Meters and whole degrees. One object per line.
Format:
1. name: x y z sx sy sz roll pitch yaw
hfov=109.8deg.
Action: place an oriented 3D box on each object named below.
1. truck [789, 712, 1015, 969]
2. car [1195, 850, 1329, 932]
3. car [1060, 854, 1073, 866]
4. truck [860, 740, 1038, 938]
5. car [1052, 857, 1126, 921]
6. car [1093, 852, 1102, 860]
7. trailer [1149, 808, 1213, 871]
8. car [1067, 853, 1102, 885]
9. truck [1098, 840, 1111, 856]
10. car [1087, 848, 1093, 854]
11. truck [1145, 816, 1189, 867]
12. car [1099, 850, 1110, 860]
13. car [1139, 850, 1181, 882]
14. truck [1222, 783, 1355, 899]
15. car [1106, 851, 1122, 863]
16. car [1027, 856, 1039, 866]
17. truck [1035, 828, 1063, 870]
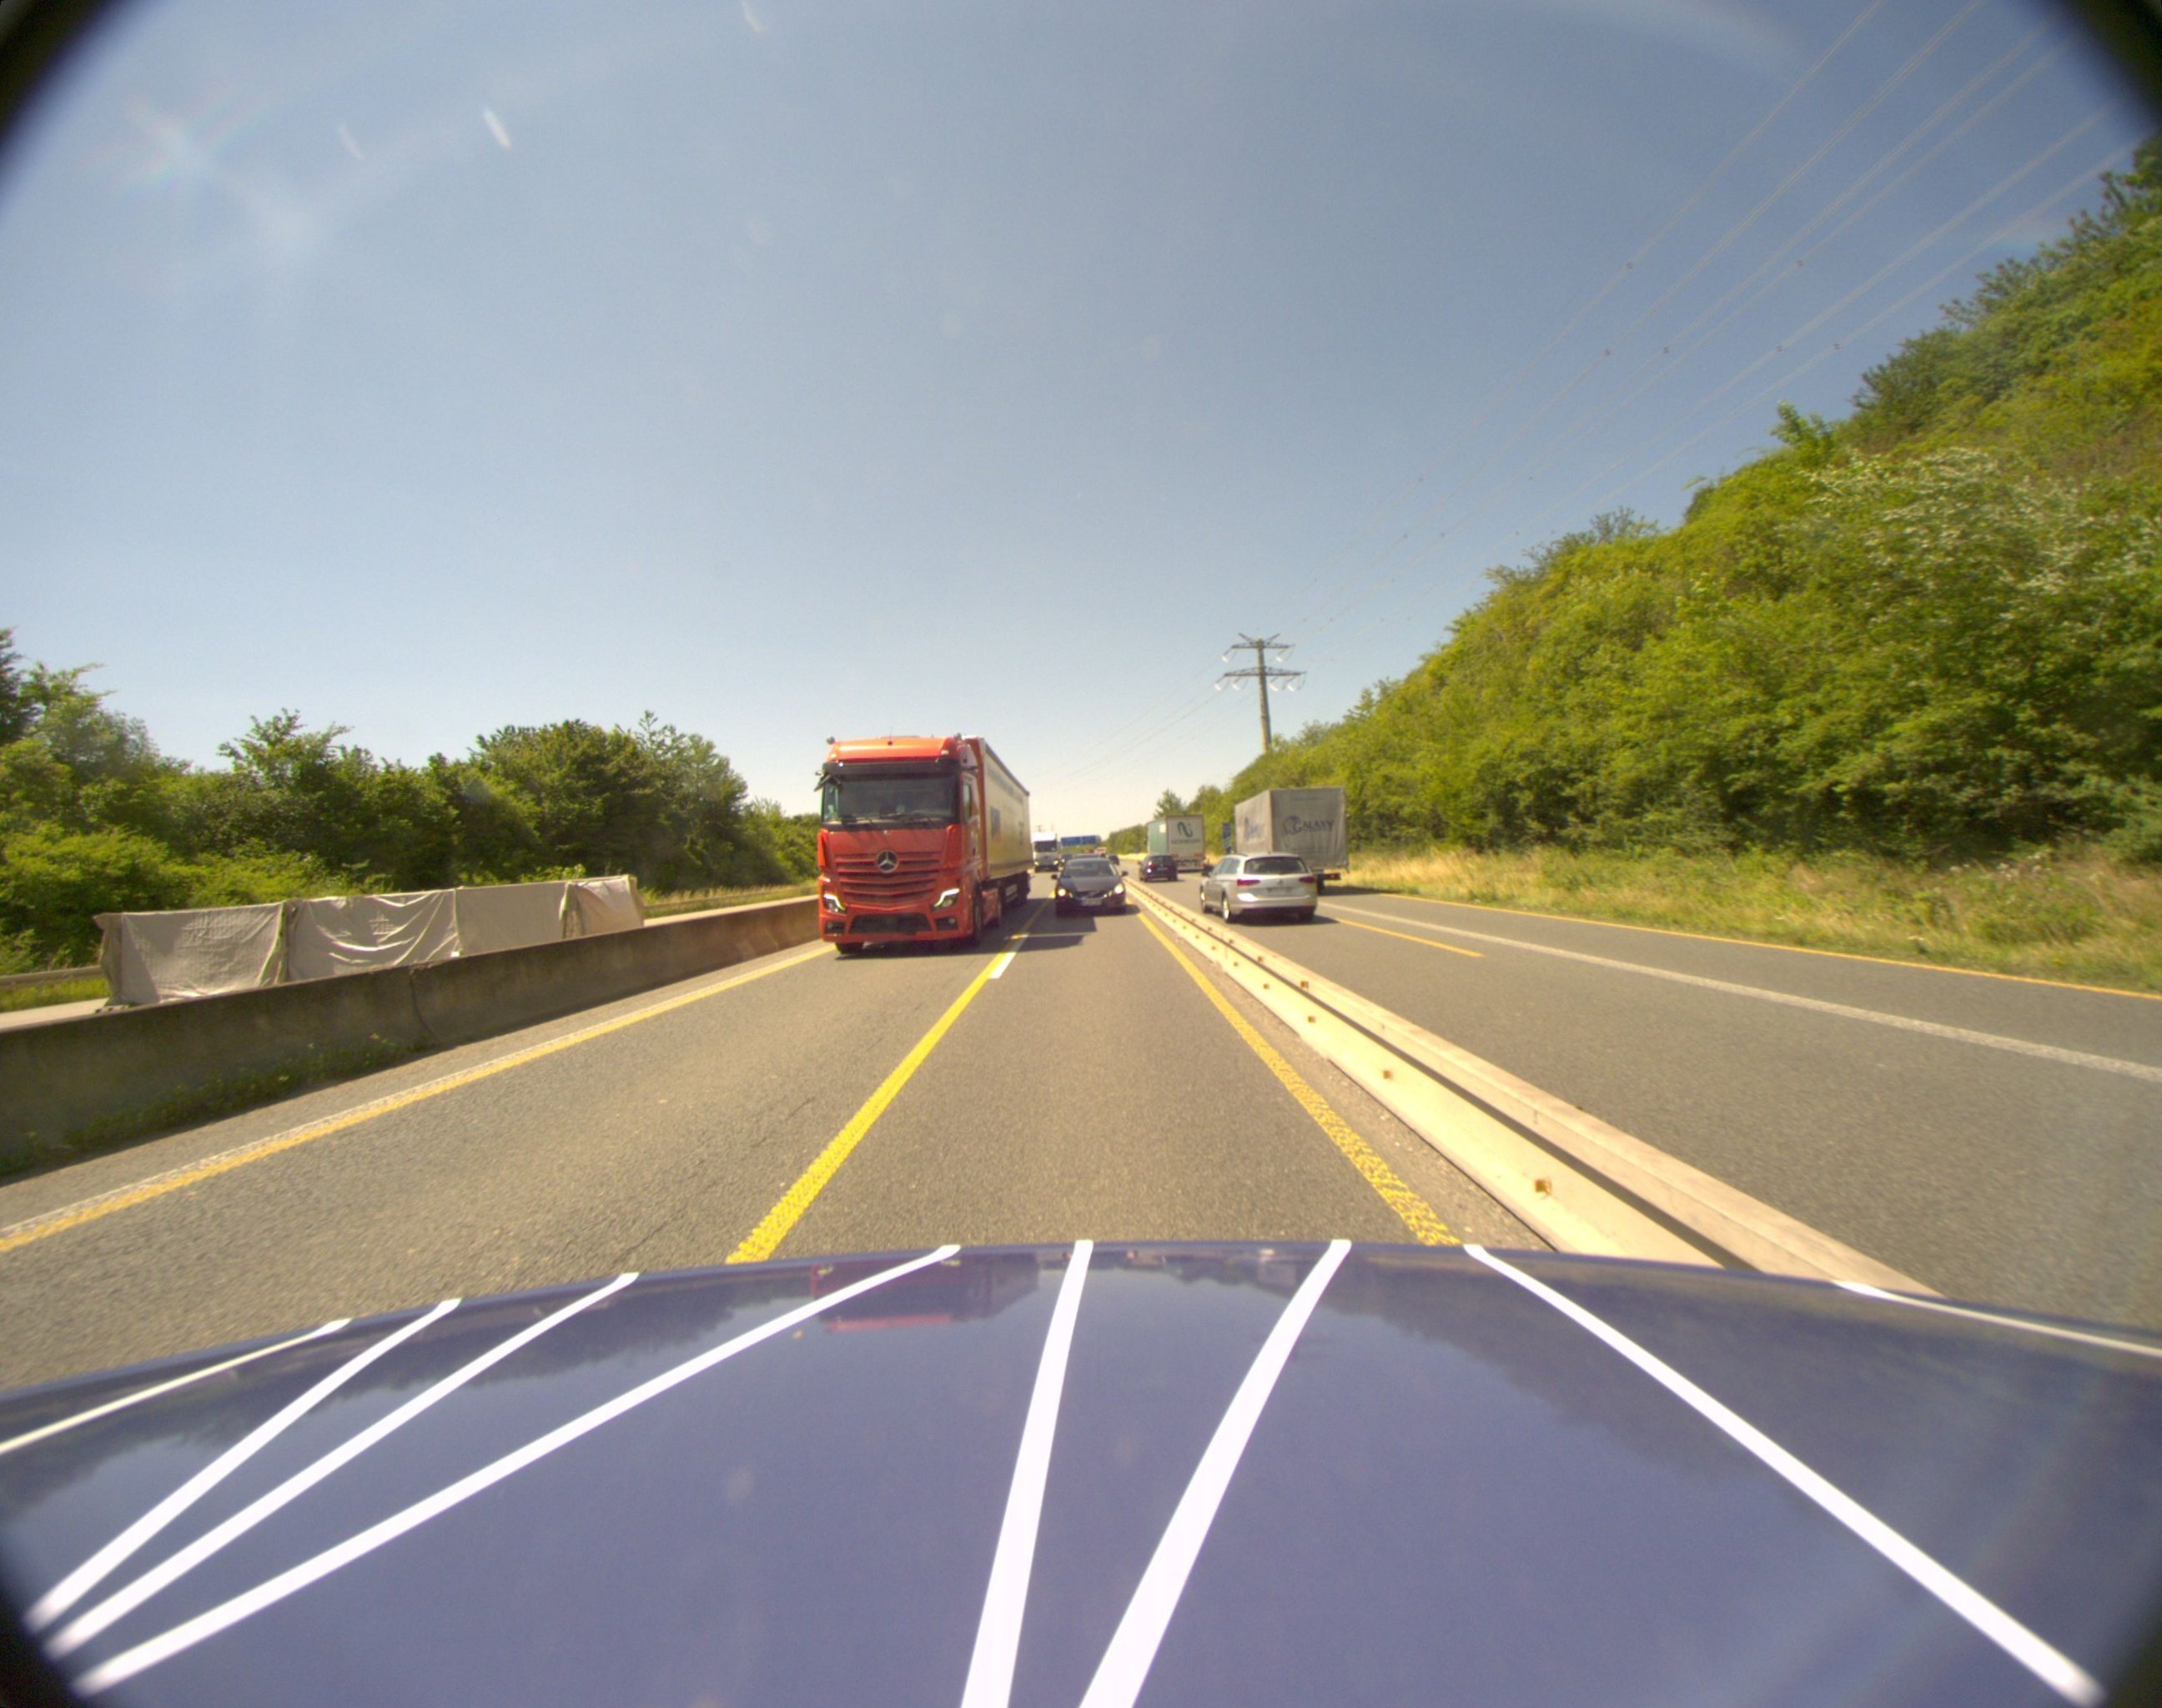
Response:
1. truck: -3.150 -0.227 15.496 2.689 3.987 6.725 -3 0 1
2. car: 3.815 0.697 16.823 1.846 1.481 4.510 -2 1 0
3. car: -2.062 0.792 108.612 1.767 1.523 4.697 -3 1 -1
4. truck: -3.104 -0.304 22.367 2.689 3.986 13.218 -3 0 0
5. car: 0.221 0.876 21.045 1.767 1.411 4.698 -3 1 1
6. car: 3.552 0.326 165.288 1.904 1.580 4.275 -3 1 0
7. trailer: 7.317 -0.996 57.838 2.899 4.101 13.242 -3 0 0
8. car: 0.207 0.777 42.190 1.767 1.523 4.698 -3 1 1
9. truck: 5.819 -1.563 191.756 2.943 3.754 11.378 -4 0 1
10. car: 3.044 -0.984 251.565 1.855 2.044 4.348 -3 1 0
11. truck: 7.319 -1.018 65.254 2.902 4.094 6.019 -2 1 0
12. car: 4.246 0.167 139.052 1.904 1.507 4.275 -3 1 1
13. car: 4.105 0.595 40.189 1.765 1.481 4.401 -3 1 1
14. truck: 6.817 -0.414 26.194 2.412 3.311 7.499 -3 0 0
15. car: 4.508 0.446 104.552 1.904 1.496 4.275 -3 1 0
16. car: -7.910 1.095 124.815 1.767 1.523 4.697 -3 1 -2
17. truck: -3.335 -0.541 81.877 2.481 4.030 13.108 -3 0 -1
